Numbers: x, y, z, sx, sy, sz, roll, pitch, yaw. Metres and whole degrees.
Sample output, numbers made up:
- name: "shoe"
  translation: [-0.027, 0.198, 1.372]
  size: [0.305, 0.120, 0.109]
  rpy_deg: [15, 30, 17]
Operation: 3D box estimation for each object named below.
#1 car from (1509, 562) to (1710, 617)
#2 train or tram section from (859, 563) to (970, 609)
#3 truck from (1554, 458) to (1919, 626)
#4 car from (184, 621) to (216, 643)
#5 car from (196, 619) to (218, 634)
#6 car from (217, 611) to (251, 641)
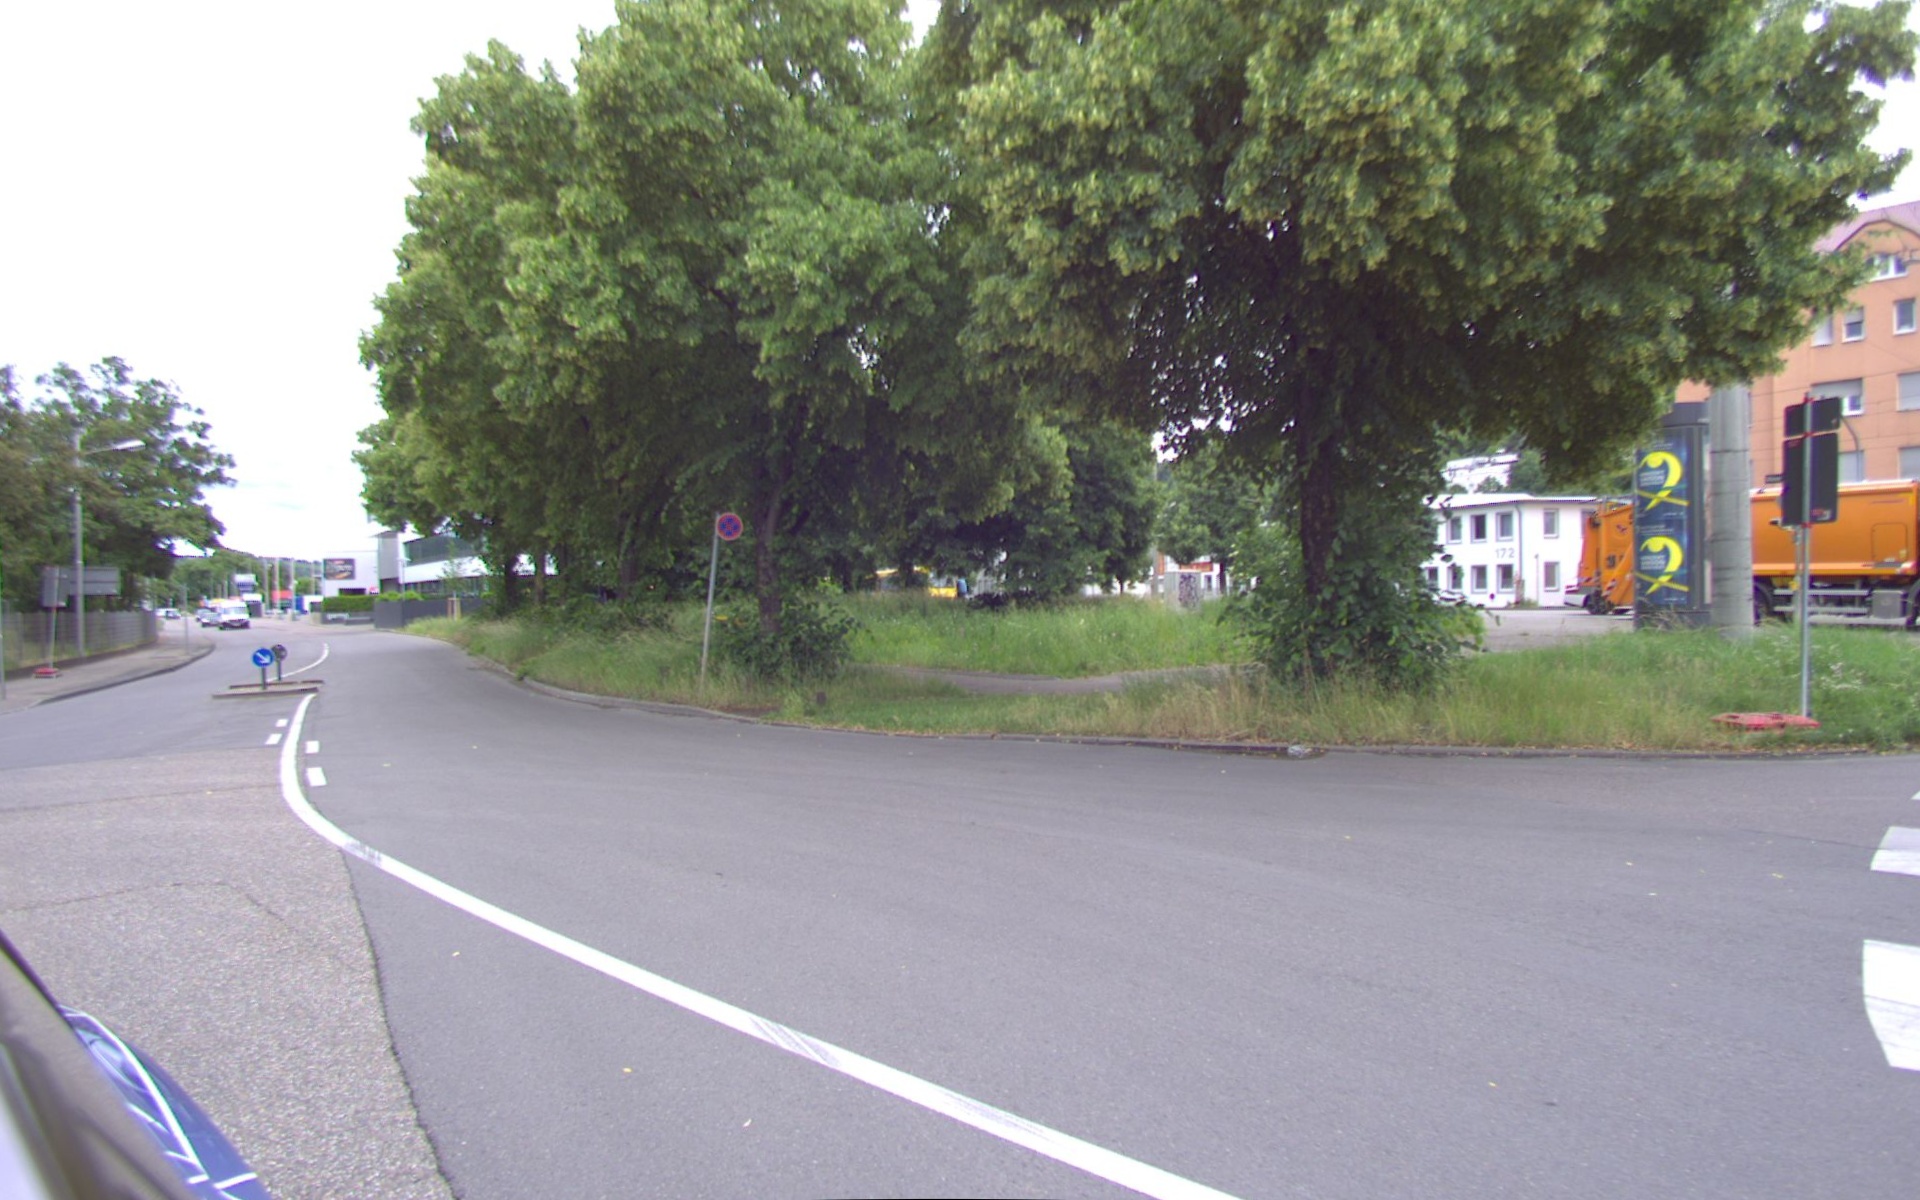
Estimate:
- name: "car"
  translation: [19.995, -0.281, 31.363]
  size: [1.776, 1.519, 4.906]
  rpy_deg: [-3, 1, -39]
- name: "train or tram section"
  translation: [-4.513, -1.111, 90.890]
  size: [3.221, 3.693, 19.238]
  rpy_deg: [-2, 0, -23]
- name: "truck"
  translation: [20.312, -1.311, 24.364]
  size: [2.750, 3.553, 10.456]
  rpy_deg: [-2, 2, -28]
- name: "car"
  translation: [-74.197, 3.086, 98.895]
  size: [2.351, 1.884, 5.219]
  rpy_deg: [-3, 1, -36]
- name: "car"
  translation: [-102.554, 3.583, 137.908]
  size: [2.351, 1.884, 5.219]
  rpy_deg: [-3, 1, -36]
- name: "car"
  translation: [-64.907, 2.291, 90.438]
  size: [2.351, 2.477, 6.114]
  rpy_deg: [-3, 1, -36]
